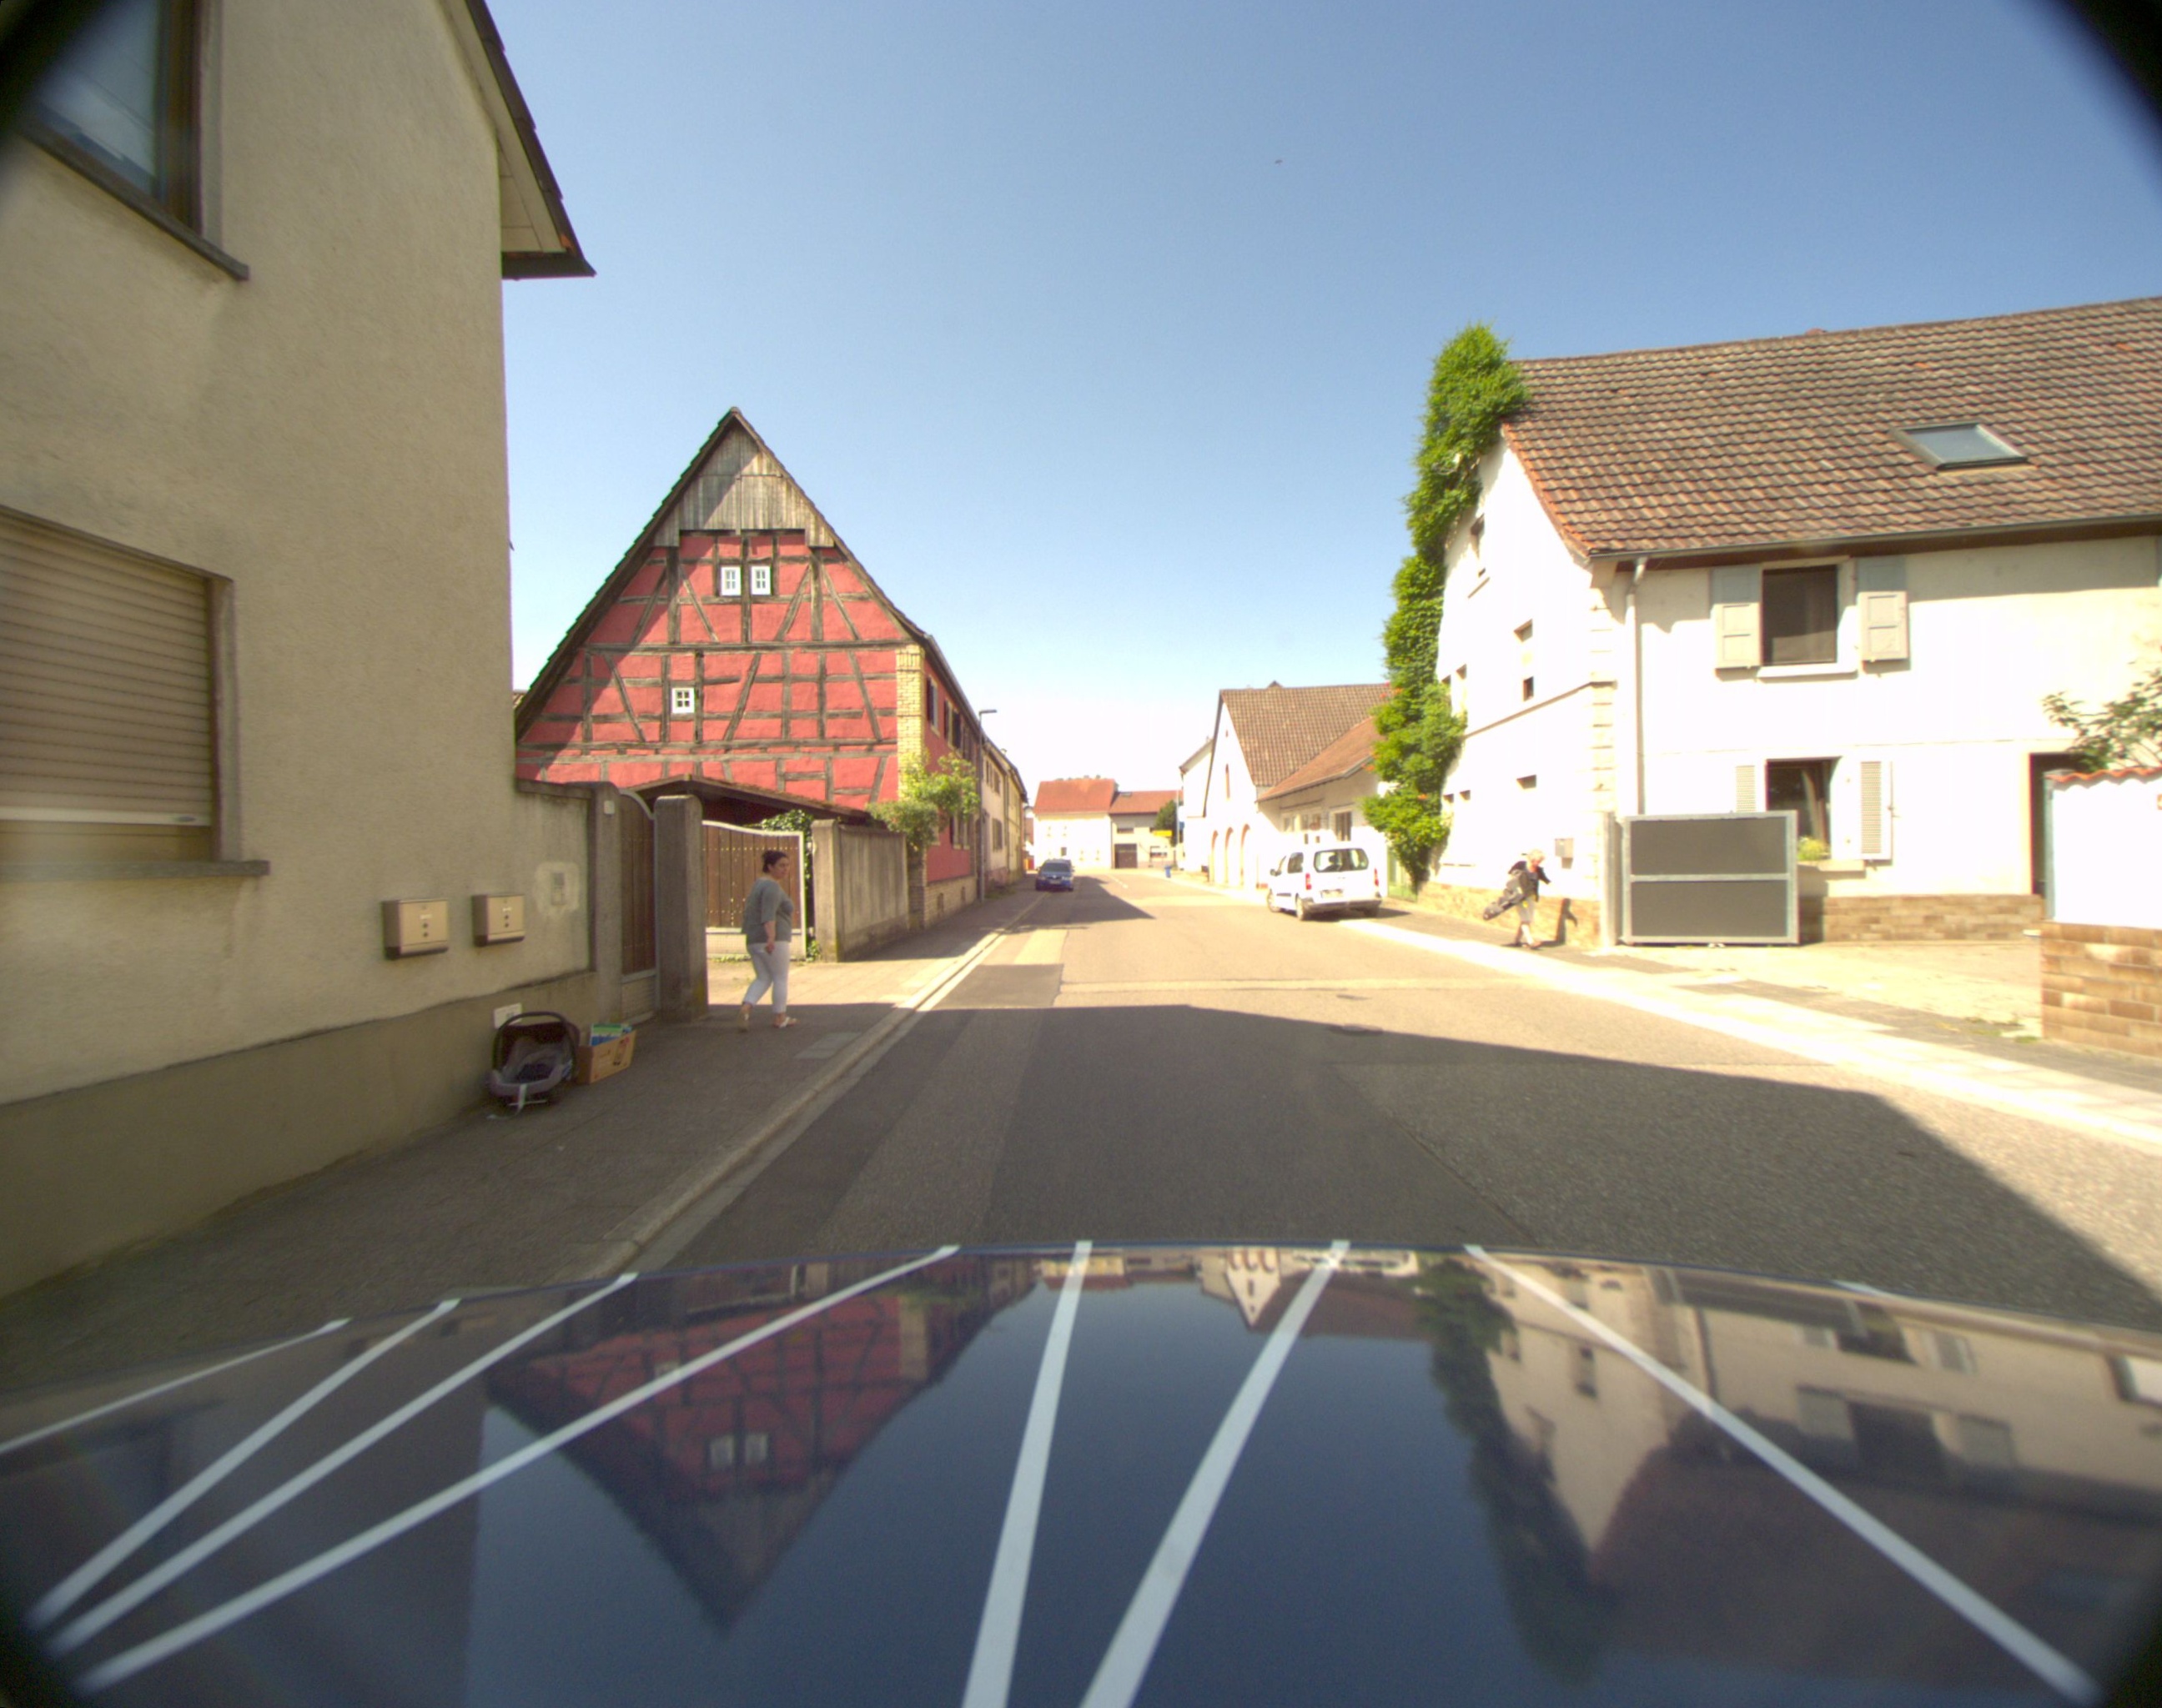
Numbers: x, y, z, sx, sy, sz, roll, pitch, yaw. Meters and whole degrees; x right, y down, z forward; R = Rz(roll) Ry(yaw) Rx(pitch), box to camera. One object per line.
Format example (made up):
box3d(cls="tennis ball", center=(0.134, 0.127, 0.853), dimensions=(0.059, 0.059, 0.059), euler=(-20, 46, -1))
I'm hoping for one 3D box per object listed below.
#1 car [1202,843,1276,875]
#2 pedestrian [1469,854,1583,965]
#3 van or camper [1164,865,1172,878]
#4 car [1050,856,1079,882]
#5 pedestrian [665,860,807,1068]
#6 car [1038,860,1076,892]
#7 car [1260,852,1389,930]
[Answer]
box3d(cls="car", center=(11.587, 0.381, 55.832), dimensions=(5.185, 2.184, 2.124), euler=(-2, 0, 10))
box3d(cls="pedestrian", center=(6.583, 0.786, 11.305), dimensions=(1.016, 1.543, 1.140), euler=(-2, 0, 2))
box3d(cls="van or camper", center=(6.560, 1.278, 57.099), dimensions=(0.590, 0.946, 0.600), euler=(-2, 0, 6))
box3d(cls="car", center=(-1.156, 1.017, 54.228), dimensions=(1.903, 1.718, 4.248), euler=(-2, 0, 0))
box3d(cls="pedestrian", center=(-2.924, 0.891, 6.524), dimensions=(0.720, 1.654, 0.893), euler=(-1, 0, 5))
box3d(cls="car", center=(-1.167, 1.021, 37.132), dimensions=(1.703, 1.461, 4.409), euler=(0, 0, -2))
box3d(cls="car", center=(5.903, 0.811, 19.005), dimensions=(1.859, 1.637, 4.430), euler=(-3, 0, 2))
